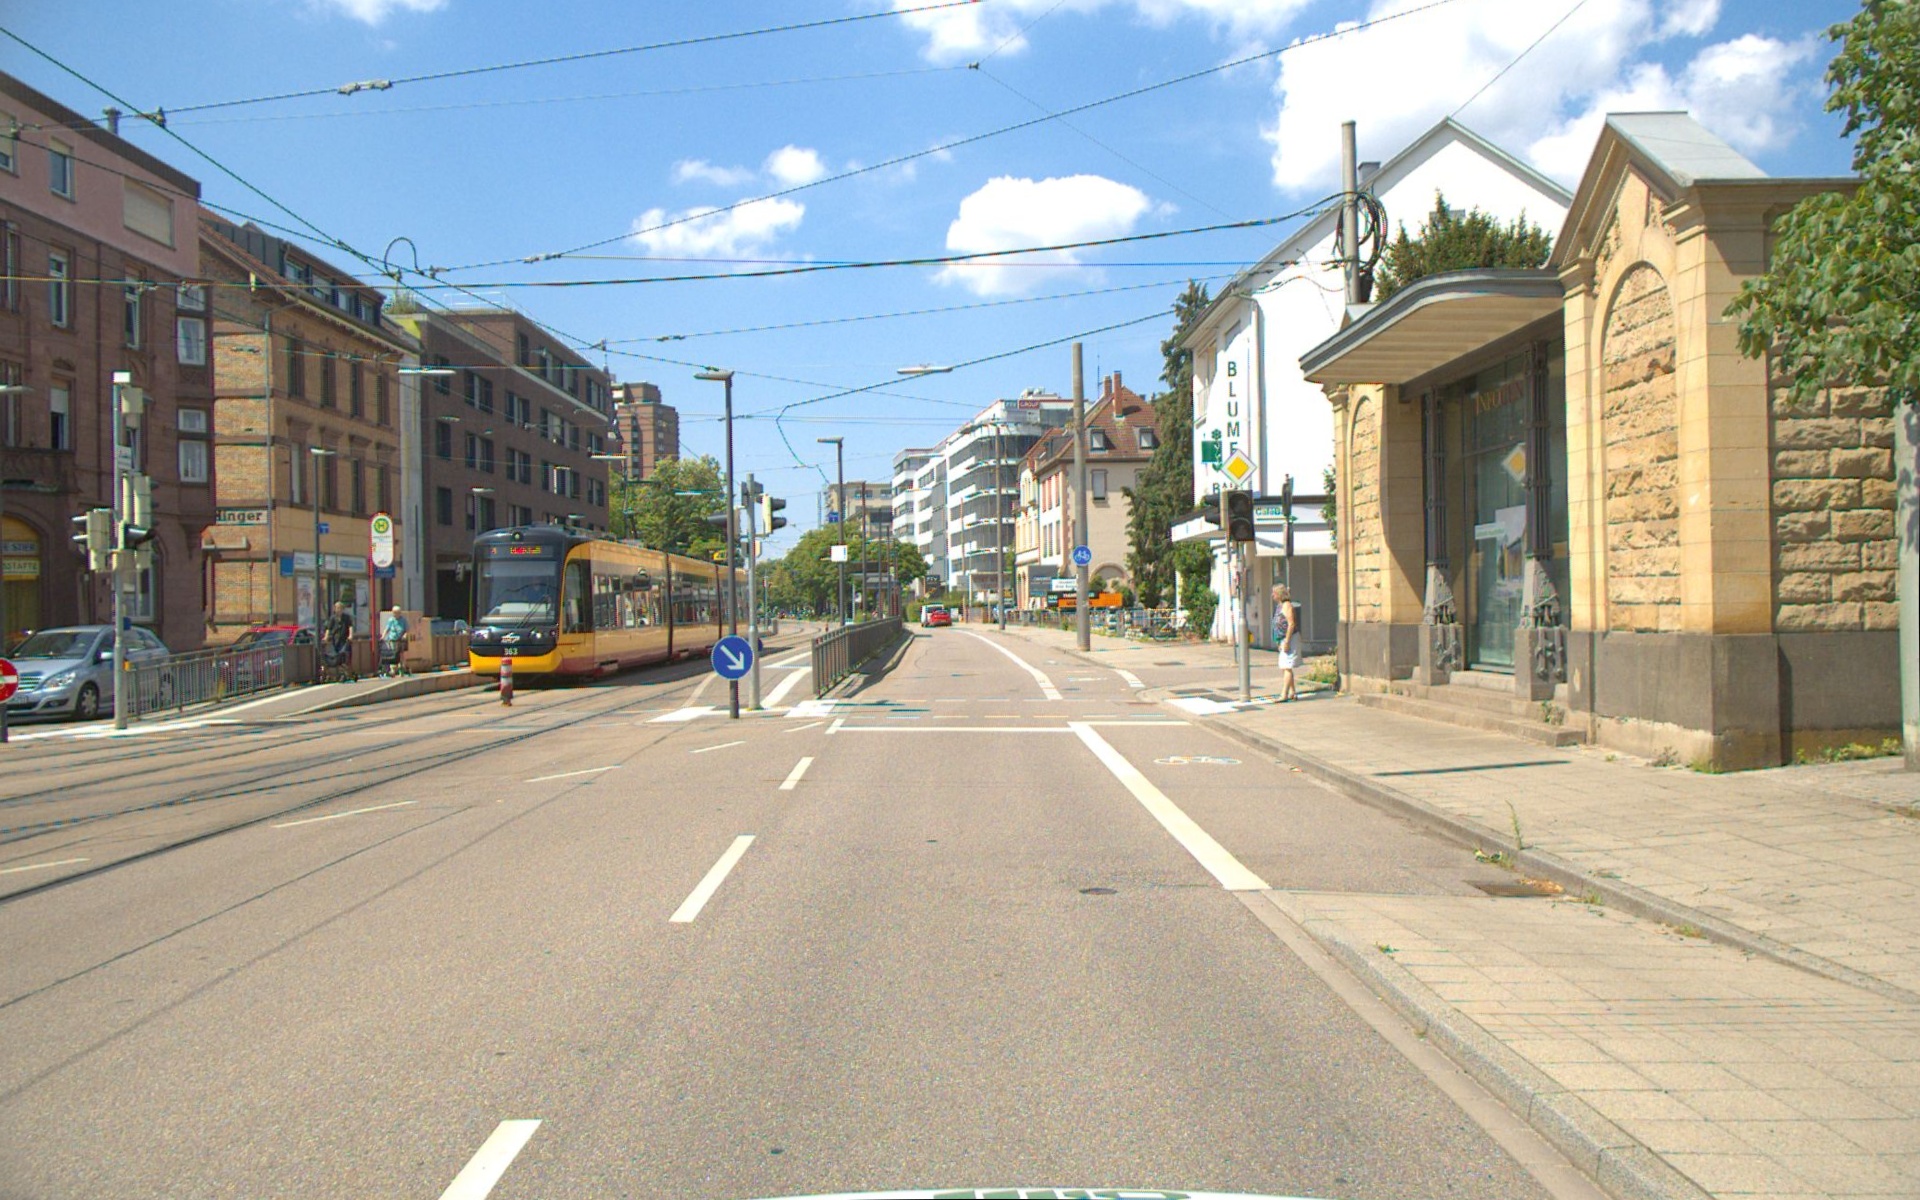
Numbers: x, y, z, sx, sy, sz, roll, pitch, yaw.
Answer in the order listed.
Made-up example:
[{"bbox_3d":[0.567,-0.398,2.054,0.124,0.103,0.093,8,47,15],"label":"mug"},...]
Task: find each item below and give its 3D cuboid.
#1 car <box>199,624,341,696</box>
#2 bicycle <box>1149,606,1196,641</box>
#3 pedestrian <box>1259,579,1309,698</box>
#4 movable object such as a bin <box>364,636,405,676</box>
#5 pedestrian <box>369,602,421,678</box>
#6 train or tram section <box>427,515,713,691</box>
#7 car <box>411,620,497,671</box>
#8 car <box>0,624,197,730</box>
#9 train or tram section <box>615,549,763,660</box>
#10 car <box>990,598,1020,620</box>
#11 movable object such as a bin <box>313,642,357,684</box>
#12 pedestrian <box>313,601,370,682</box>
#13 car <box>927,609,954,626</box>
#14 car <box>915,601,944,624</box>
[{"bbox_3d":[-15.653,1.324,37.744,1.621,1.470,3.853,-2,0,-1],"label":"car"},{"bbox_3d":[7.195,0.794,56.027,1.500,1.105,0.430,-3,-1,5],"label":"bicycle"},{"bbox_3d":[4.729,0.551,24.098,0.551,1.695,0.681,-2,0,22],"label":"pedestrian"},{"bbox_3d":[-12.160,1.179,34.957,0.661,0.794,0.619,-2,0,-3],"label":"movable object such as a bin"},{"bbox_3d":[-12.161,0.860,35.615,0.769,1.587,0.920,-2,0,-1],"label":"pedestrian"},{"bbox_3d":[-9.768,0.165,45.179,3.184,3.629,20.496,-2,-1,-1],"label":"train or tram section"},{"bbox_3d":[-15.910,1.406,52.181,1.618,1.482,3.787,-2,0,-2],"label":"car"},{"bbox_3d":[-15.476,1.299,29.479,1.700,1.644,4.603,-2,0,-2],"label":"car"},{"bbox_3d":[-10.017,0.233,63.394,3.169,3.629,16.345,-2,-1,-1],"label":"train or tram section"},{"bbox_3d":[3.714,0.748,136.667,1.842,1.652,4.633,-4,0,-6],"label":"car"},{"bbox_3d":[-12.434,1.247,32.894,0.661,0.794,0.538,-2,0,-3],"label":"movable object such as a bin"},{"bbox_3d":[-12.444,0.831,33.299,0.769,1.587,0.920,-2,0,-1],"label":"pedestrian"},{"bbox_3d":[-1.747,1.573,146.564,1.955,1.467,4.011,-1,0,-7],"label":"car"},{"bbox_3d":[-2.850,1.175,153.024,1.957,2.026,5.504,-3,0,-8],"label":"car"}]
